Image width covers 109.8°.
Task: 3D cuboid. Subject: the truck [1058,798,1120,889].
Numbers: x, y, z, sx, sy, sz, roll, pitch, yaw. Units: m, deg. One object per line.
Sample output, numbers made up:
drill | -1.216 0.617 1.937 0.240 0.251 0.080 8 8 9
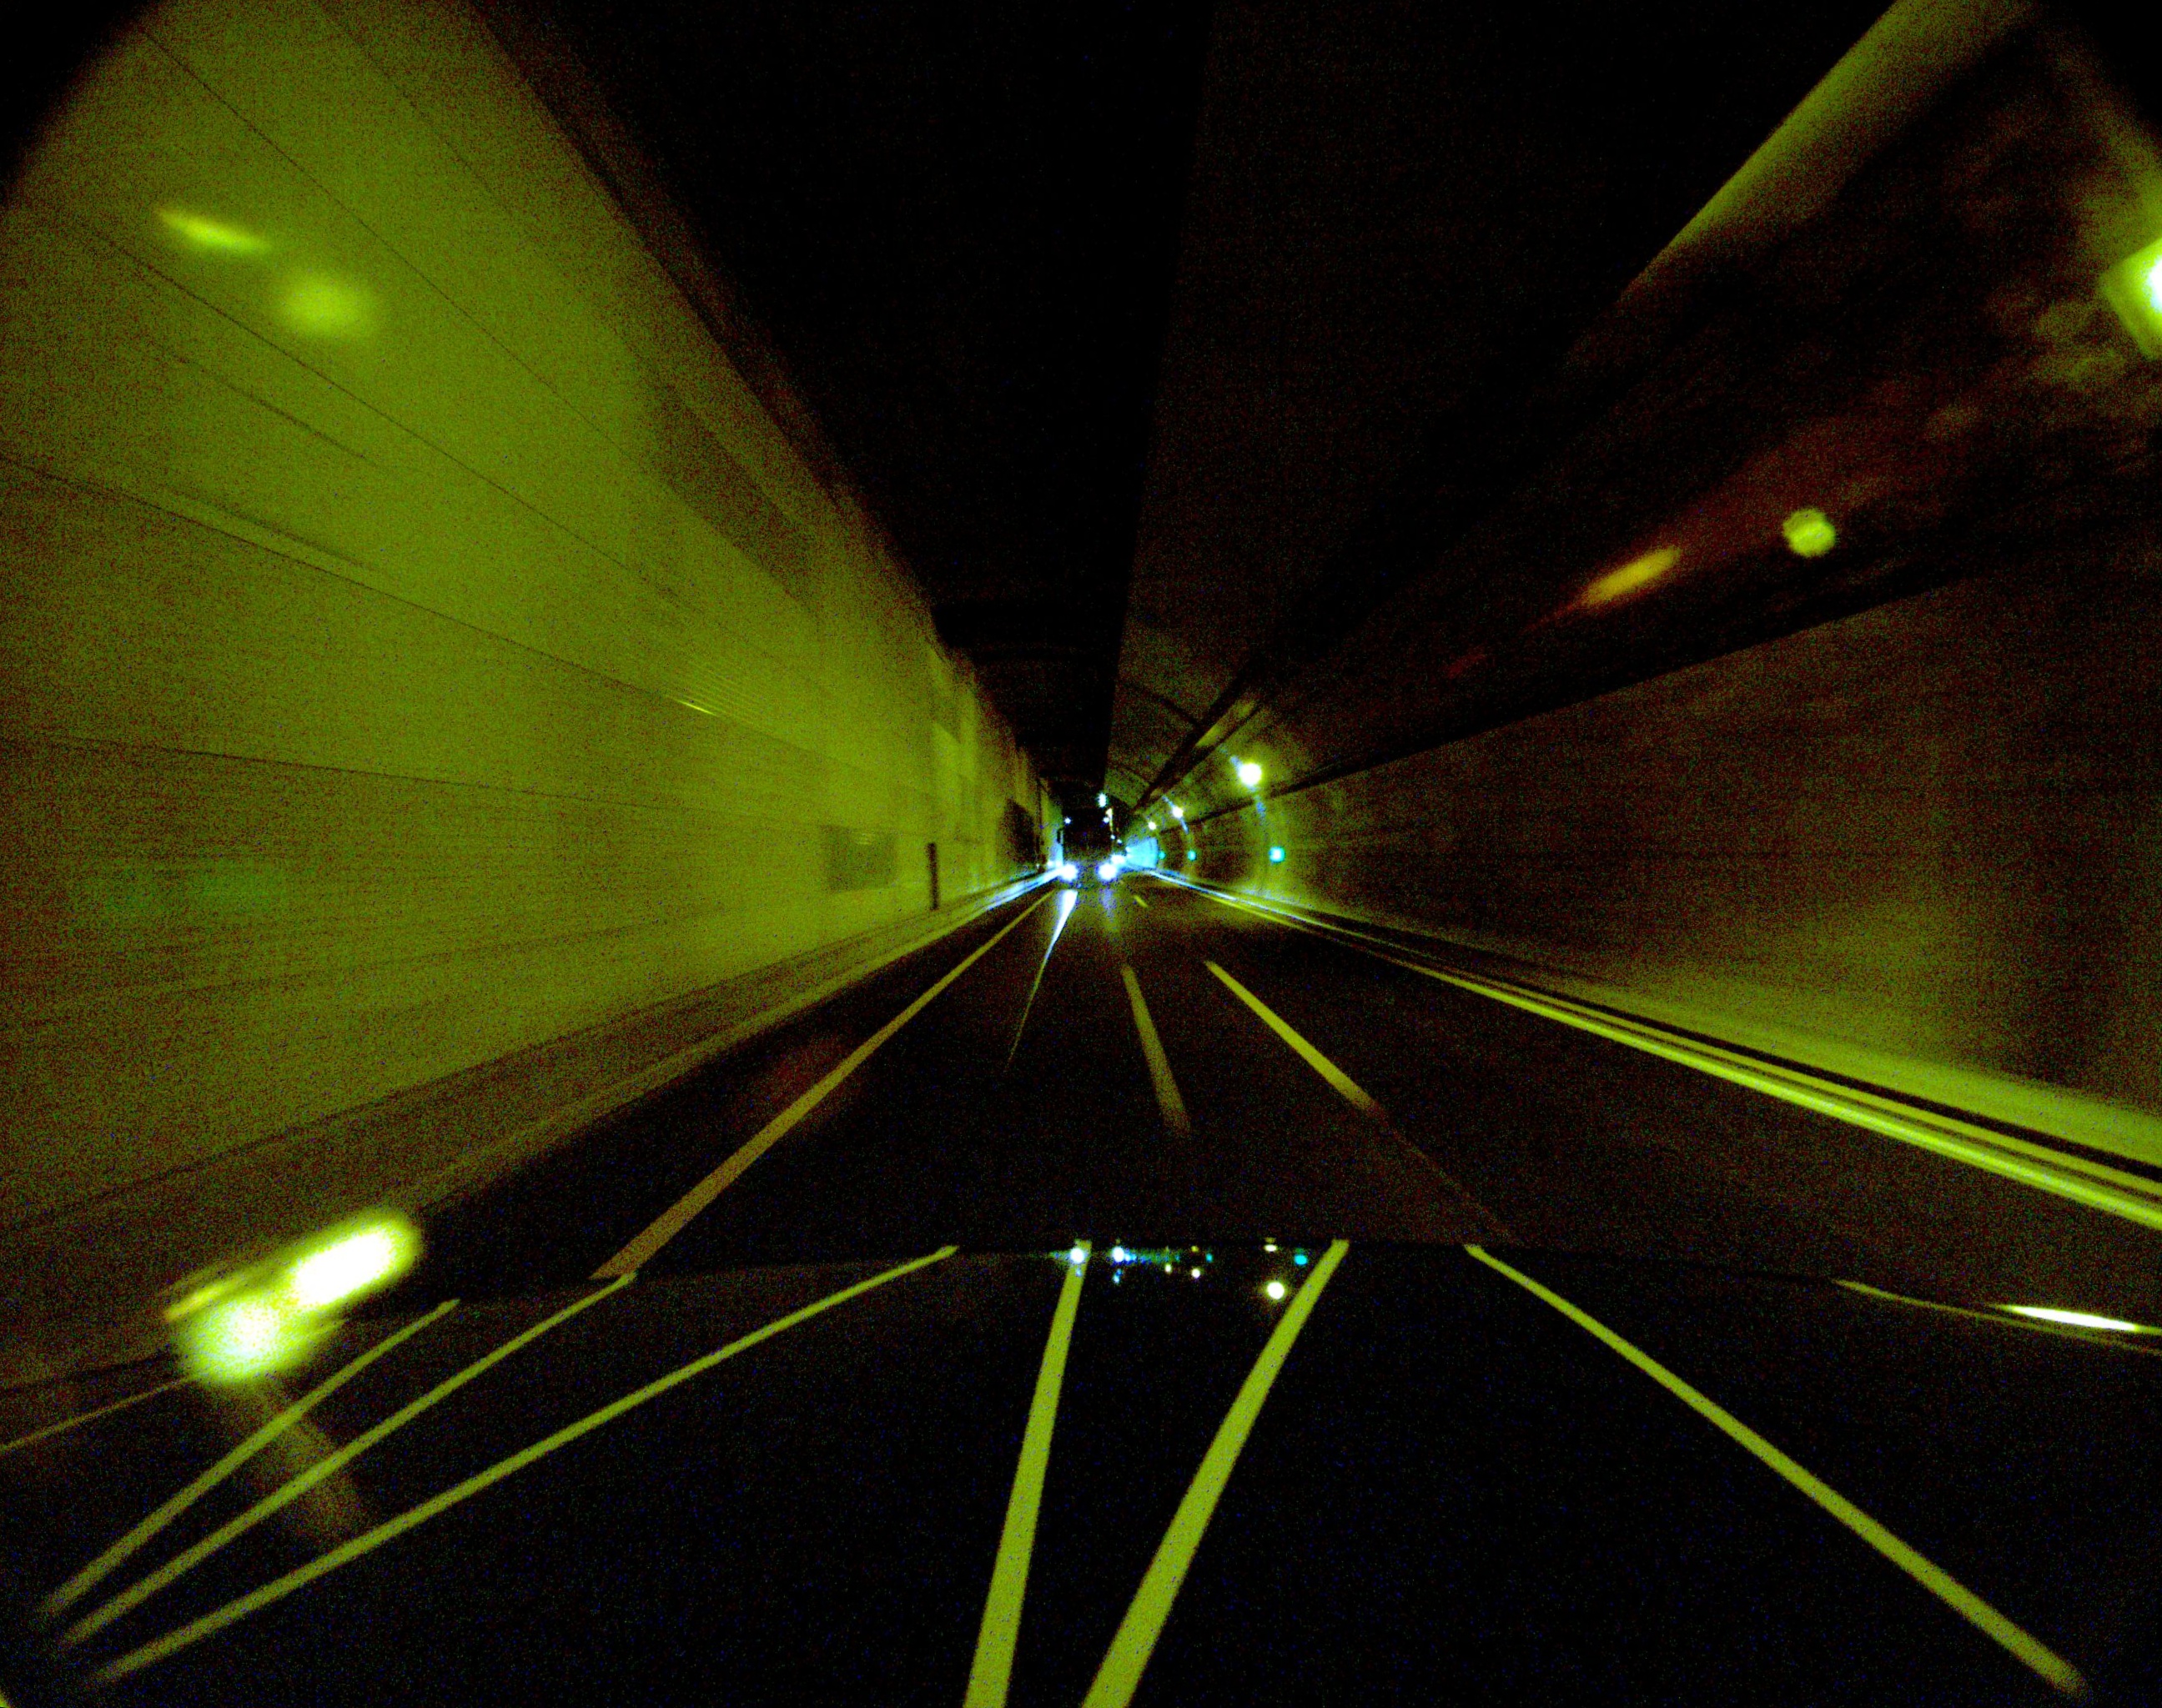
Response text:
truck | 0.408 -0.535 40.409 2.769 4.198 7.976 -3 1 0
